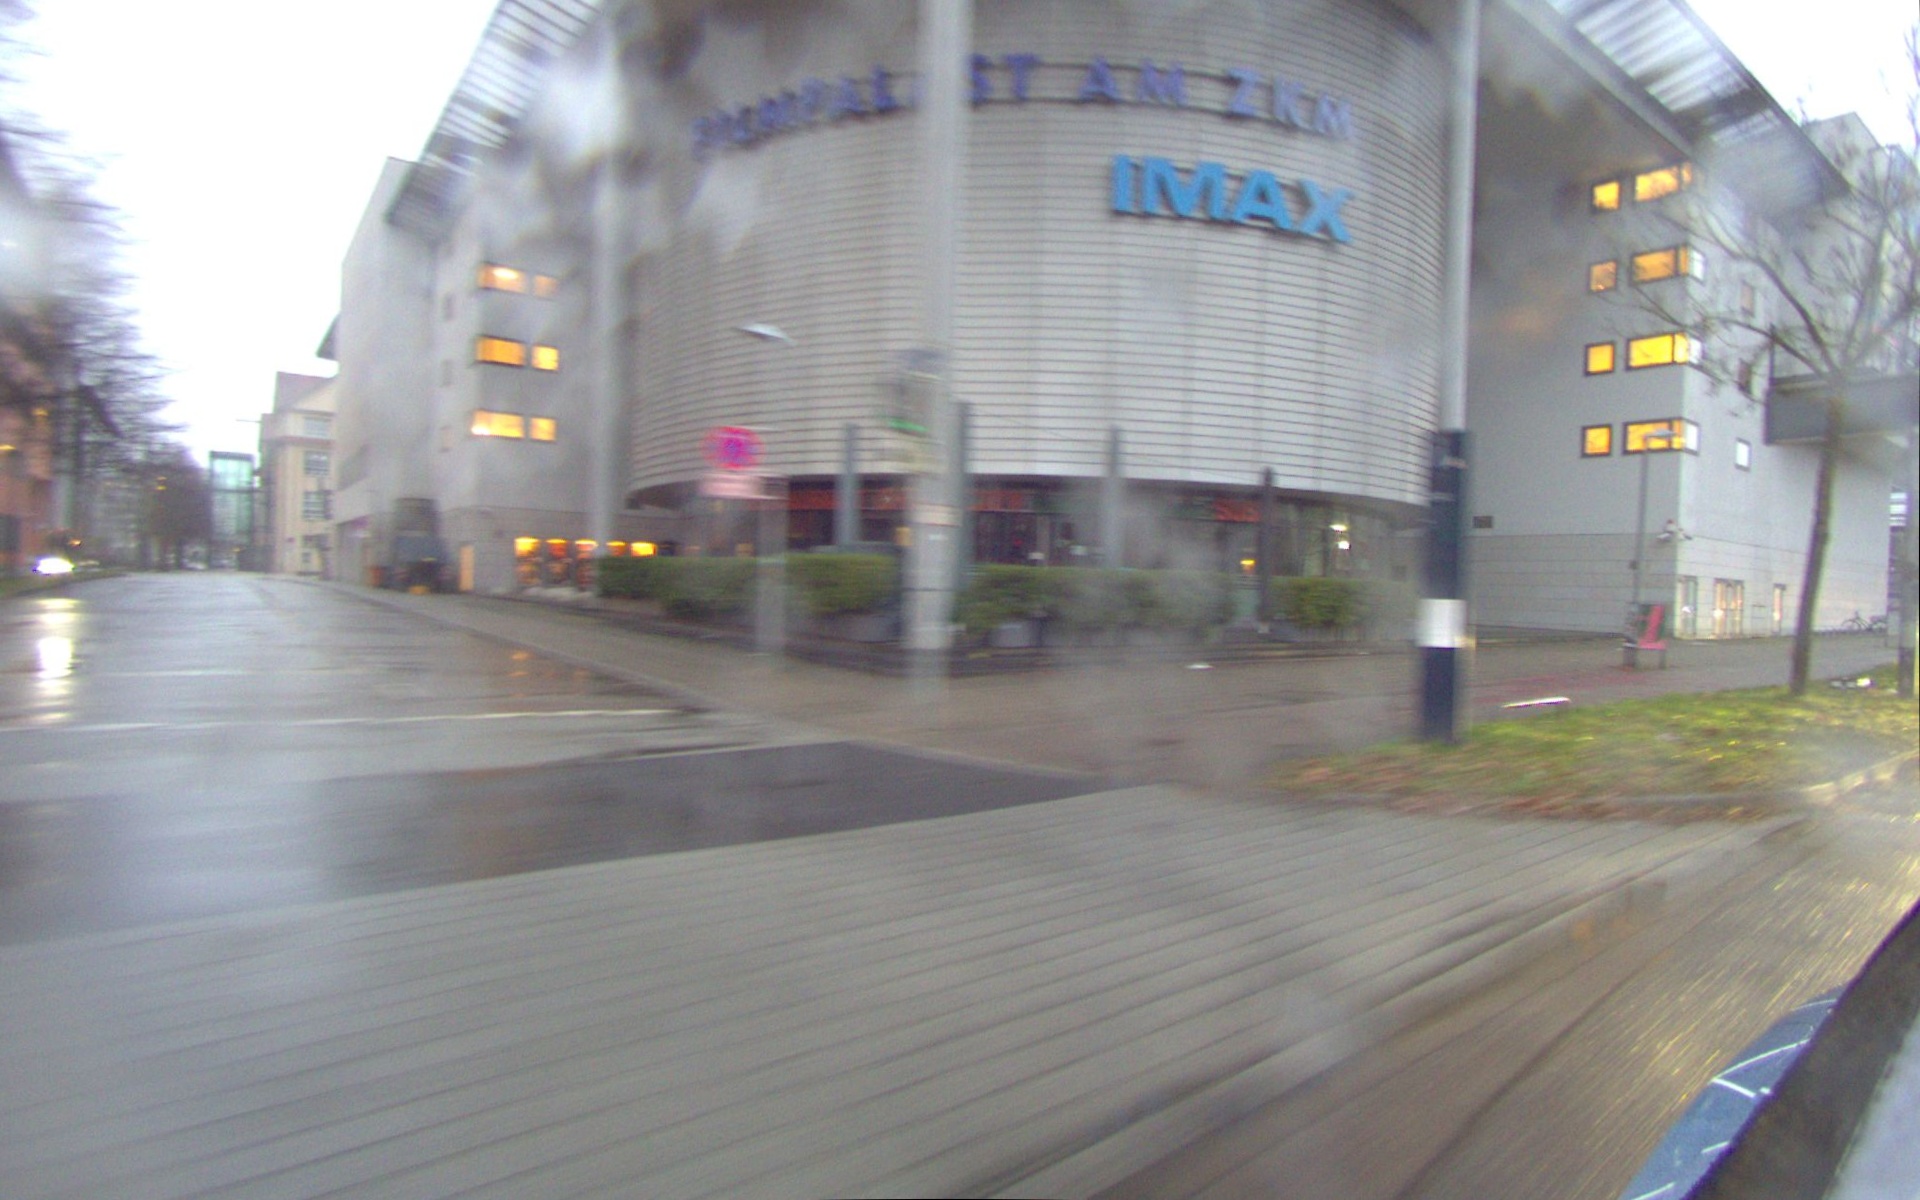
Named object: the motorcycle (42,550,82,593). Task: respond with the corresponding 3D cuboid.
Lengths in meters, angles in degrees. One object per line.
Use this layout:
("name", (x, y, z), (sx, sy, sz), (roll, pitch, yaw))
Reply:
("motorcycle", (-23.998, -0.757, 27.069), (0.612, 1.113, 1.444), (0, 0, -34))

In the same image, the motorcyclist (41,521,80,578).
("motorcyclist", (-23.882, -1.324, 26.881), (0.597, 1.472, 0.902), (0, 0, -29))
